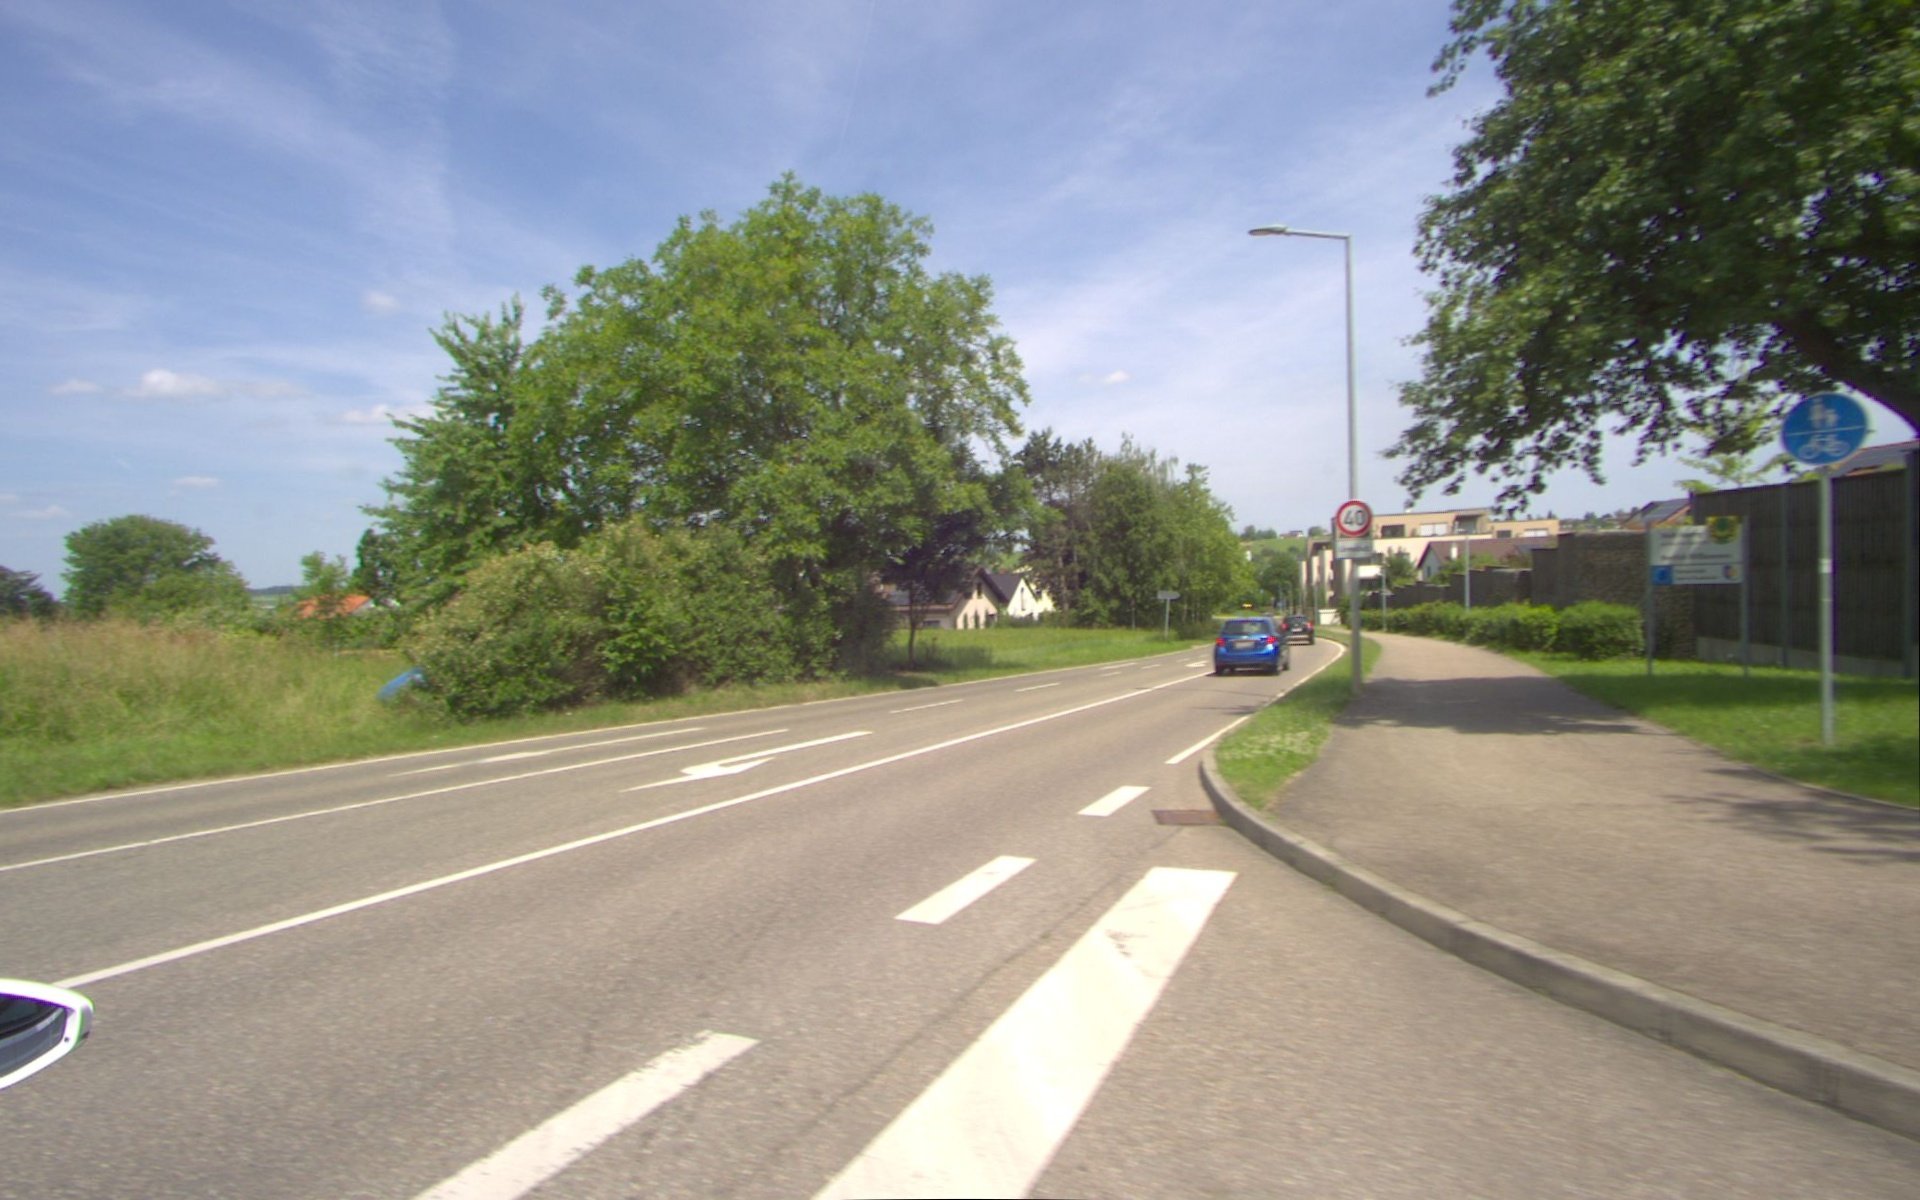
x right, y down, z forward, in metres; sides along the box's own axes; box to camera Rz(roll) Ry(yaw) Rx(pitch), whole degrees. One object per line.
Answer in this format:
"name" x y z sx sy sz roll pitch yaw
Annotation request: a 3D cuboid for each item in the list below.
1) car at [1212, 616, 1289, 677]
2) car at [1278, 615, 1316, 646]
"car" 7.867 1.209 26.921 1.586 1.511 3.839 -2 -2 22
"car" 18.608 1.674 55.238 1.799 1.601 3.991 -1 -1 21
